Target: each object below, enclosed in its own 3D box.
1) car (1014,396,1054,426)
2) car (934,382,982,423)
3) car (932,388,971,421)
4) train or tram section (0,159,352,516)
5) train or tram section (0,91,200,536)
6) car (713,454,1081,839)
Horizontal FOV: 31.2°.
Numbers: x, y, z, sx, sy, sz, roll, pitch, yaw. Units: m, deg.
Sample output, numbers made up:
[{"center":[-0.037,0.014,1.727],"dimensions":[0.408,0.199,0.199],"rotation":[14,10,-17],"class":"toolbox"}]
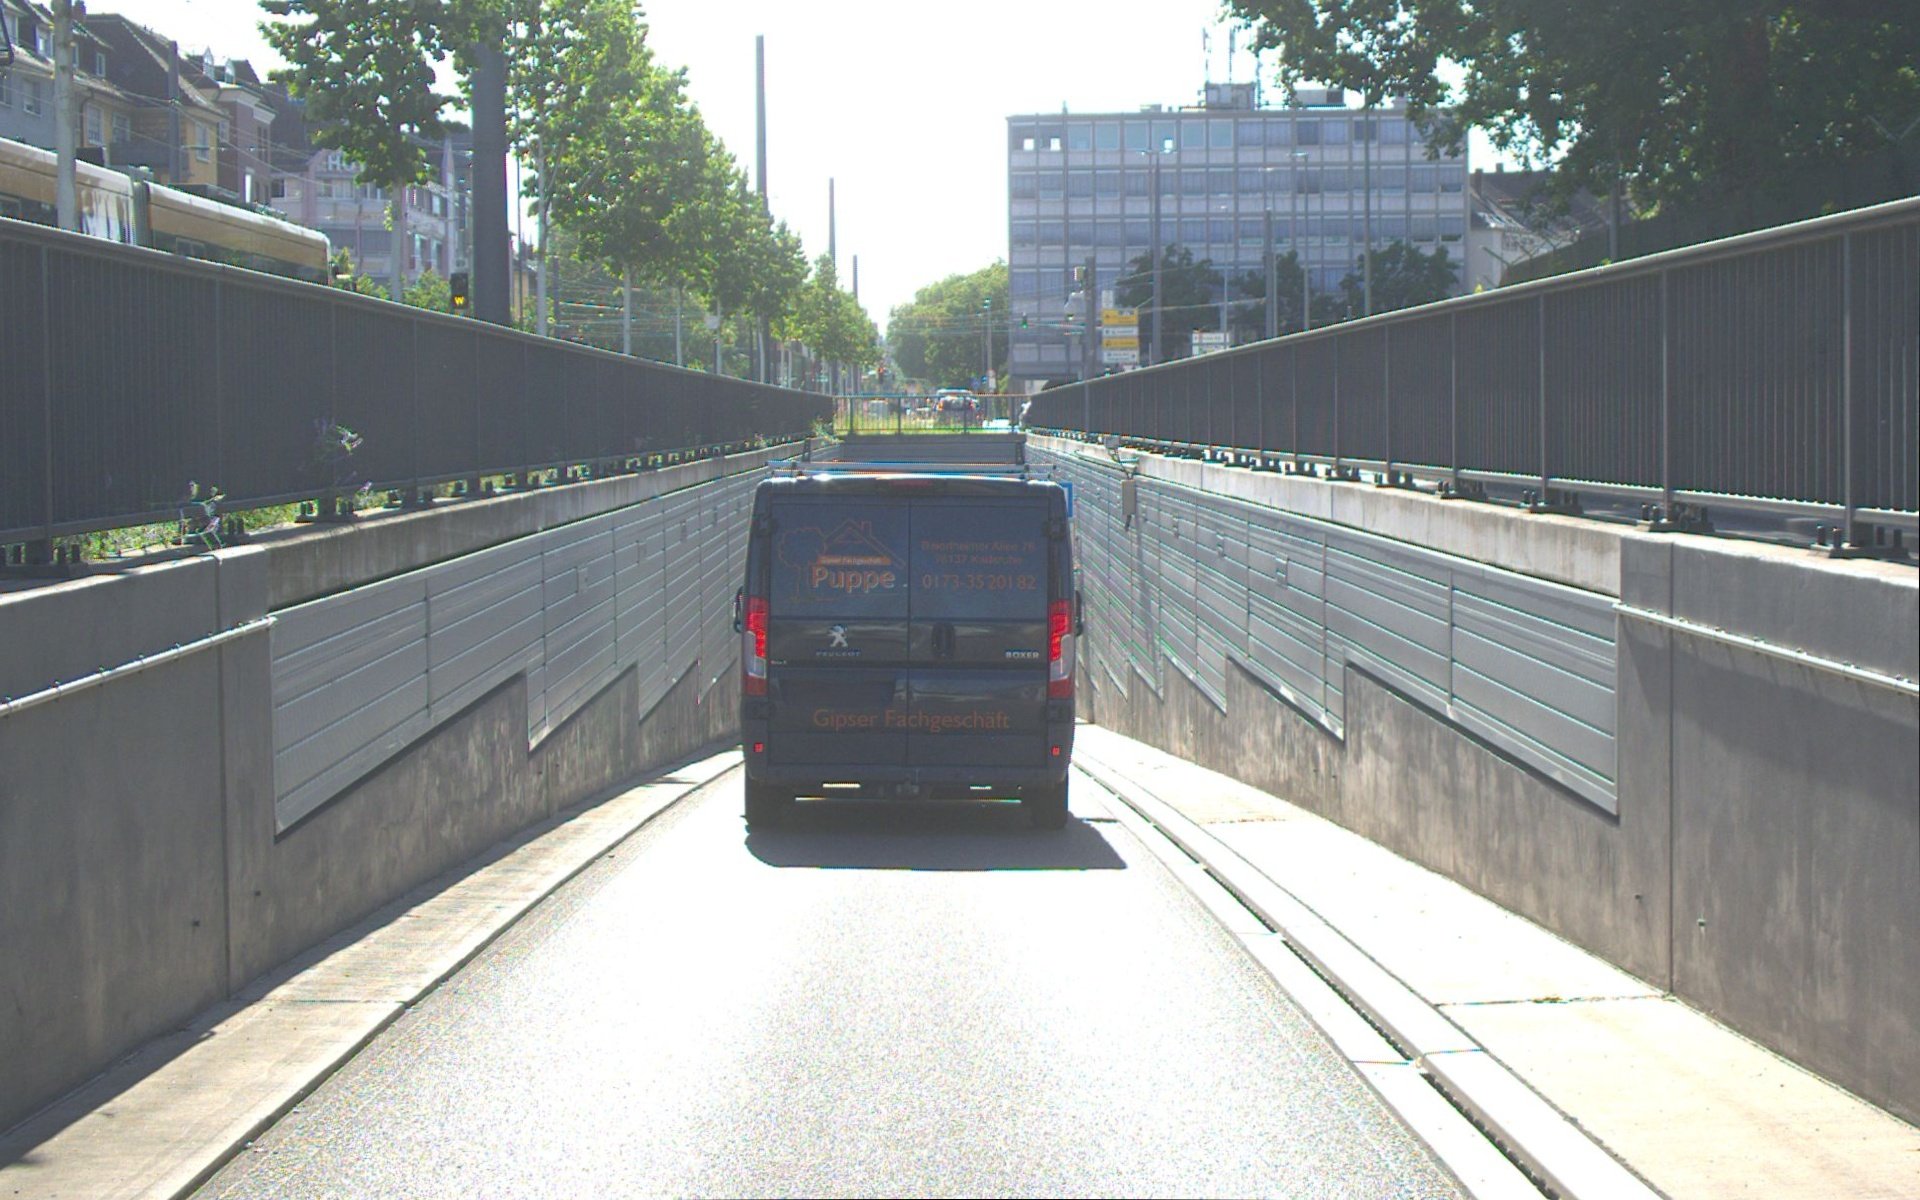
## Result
[{"center":[3.590,-9.202,167.133],"dimensions":[1.740,1.416,4.001],"rotation":[0,3,-2],"class":"car"},{"center":[-0.100,-7.712,134.301],"dimensions":[1.740,1.556,4.001],"rotation":[0,3,-2],"class":"car"},{"center":[-0.405,-9.224,162.114],"dimensions":[1.740,1.556,4.001],"rotation":[0,3,-2],"class":"car"},{"center":[-9.678,-3.096,42.522],"dimensions":[2.612,3.841,9.973],"rotation":[1,3,-1],"class":"train or tram section"},{"center":[-9.555,-2.546,31.006],"dimensions":[2.610,3.807,13.093],"rotation":[1,3,-1],"class":"train or tram section"},{"center":[-0.367,0.279,22.723],"dimensions":[2.158,2.258,4.636],"rotation":[1,0,0],"class":"car"}]
